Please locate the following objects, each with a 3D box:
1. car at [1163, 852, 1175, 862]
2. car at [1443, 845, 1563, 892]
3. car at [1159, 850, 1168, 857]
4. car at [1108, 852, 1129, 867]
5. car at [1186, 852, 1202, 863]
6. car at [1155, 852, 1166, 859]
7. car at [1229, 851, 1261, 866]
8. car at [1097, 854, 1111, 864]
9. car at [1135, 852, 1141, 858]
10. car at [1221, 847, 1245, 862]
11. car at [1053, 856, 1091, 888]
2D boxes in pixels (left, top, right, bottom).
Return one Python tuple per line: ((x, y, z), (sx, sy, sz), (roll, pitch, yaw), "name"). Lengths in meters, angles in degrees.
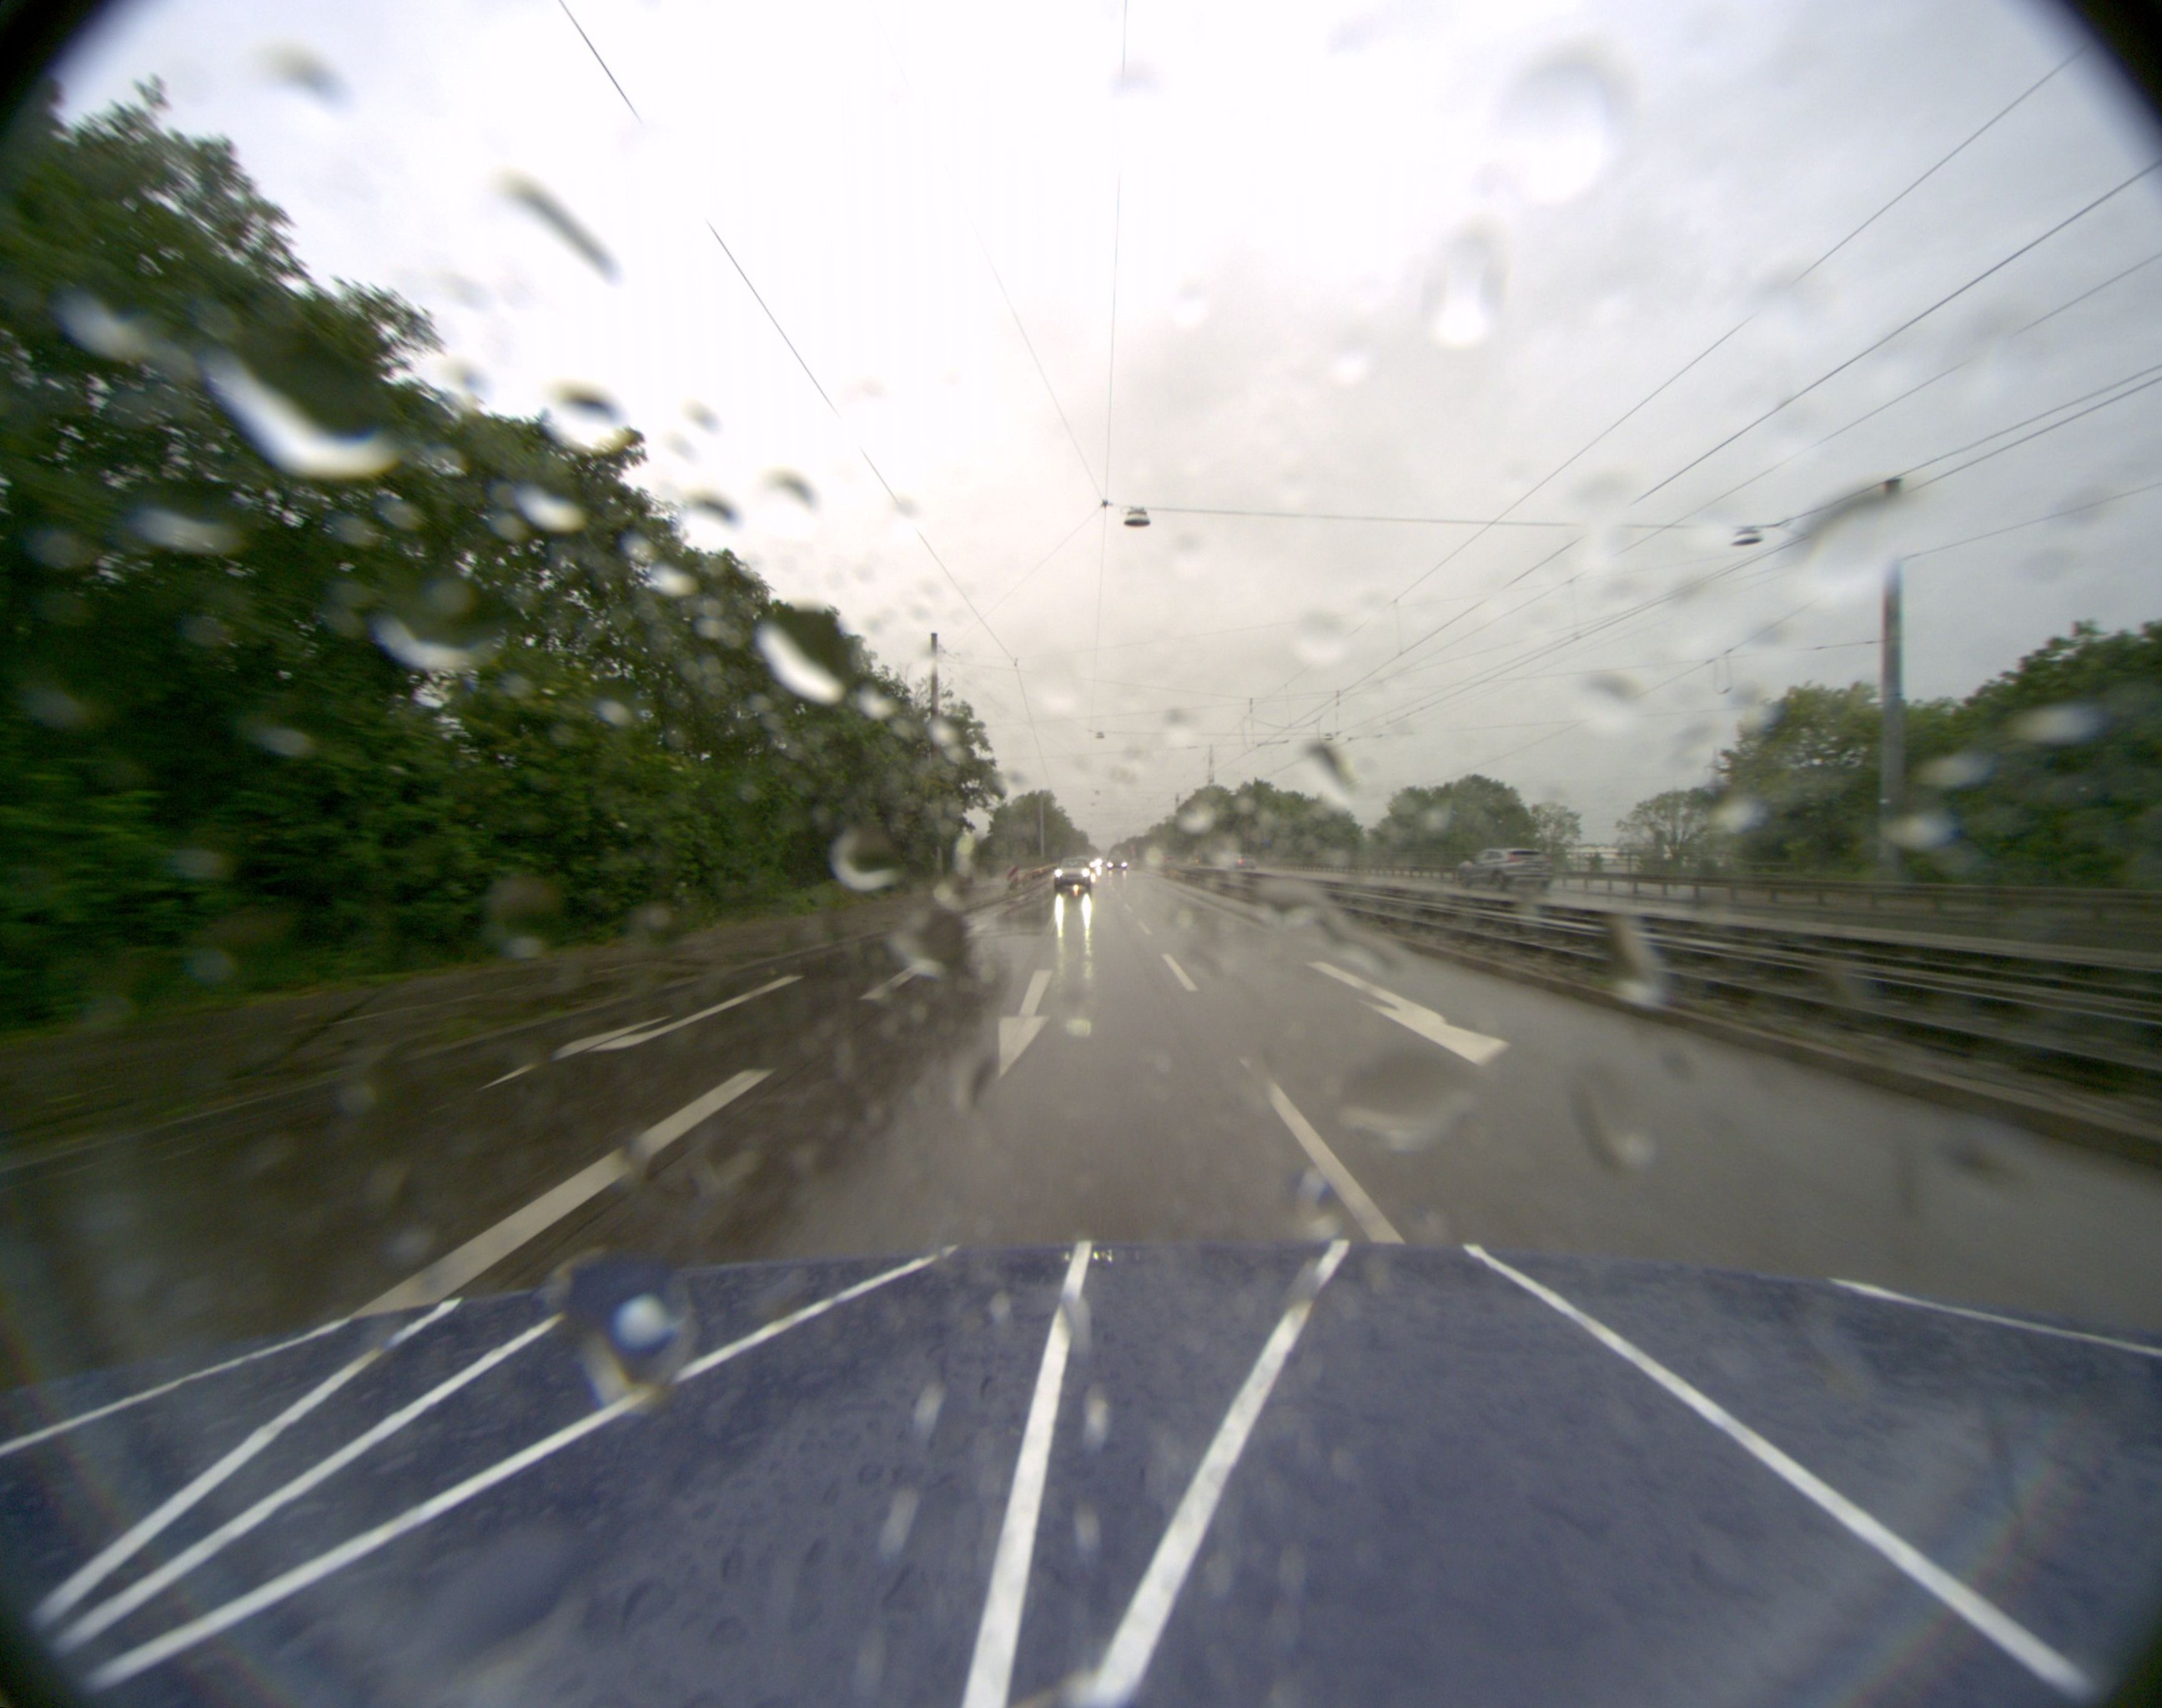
((17.250, 0.596, 149.072), (1.853, 1.821, 4.393), (-4, 1, 1), "car")
((16.532, 0.539, 30.089), (1.999, 1.662, 4.872), (-1, 0, 0), "car")
((21.520, -0.089, 198.374), (1.837, 1.701, 4.661), (1, 0, 1), "car")
((3.861, 0.551, 78.504), (1.971, 1.412, 4.000), (0, 1, 1), "car")
((17.777, 0.548, 119.726), (1.851, 1.585, 4.000), (-1, 1, 1), "car")
((18.438, 0.257, 176.606), (1.998, 1.608, 4.000), (-1, 1, 1), "car")
((15.713, 0.436, 72.997), (1.999, 1.380, 4.853), (-1, 0, 0), "car")
((3.322, 0.666, 112.069), (1.971, 1.412, 4.000), (0, 1, 1), "car")
((19.033, 0.323, 254.315), (1.777, 1.621, 3.670), (-4, 1, 1), "car")
((16.813, -0.001, 84.065), (1.845, 1.565, 4.385), (-1, 1, 1), "car")
((-0.375, 0.825, 36.578), (1.751, 1.412, 4.000), (0, 1, 1), "car")
